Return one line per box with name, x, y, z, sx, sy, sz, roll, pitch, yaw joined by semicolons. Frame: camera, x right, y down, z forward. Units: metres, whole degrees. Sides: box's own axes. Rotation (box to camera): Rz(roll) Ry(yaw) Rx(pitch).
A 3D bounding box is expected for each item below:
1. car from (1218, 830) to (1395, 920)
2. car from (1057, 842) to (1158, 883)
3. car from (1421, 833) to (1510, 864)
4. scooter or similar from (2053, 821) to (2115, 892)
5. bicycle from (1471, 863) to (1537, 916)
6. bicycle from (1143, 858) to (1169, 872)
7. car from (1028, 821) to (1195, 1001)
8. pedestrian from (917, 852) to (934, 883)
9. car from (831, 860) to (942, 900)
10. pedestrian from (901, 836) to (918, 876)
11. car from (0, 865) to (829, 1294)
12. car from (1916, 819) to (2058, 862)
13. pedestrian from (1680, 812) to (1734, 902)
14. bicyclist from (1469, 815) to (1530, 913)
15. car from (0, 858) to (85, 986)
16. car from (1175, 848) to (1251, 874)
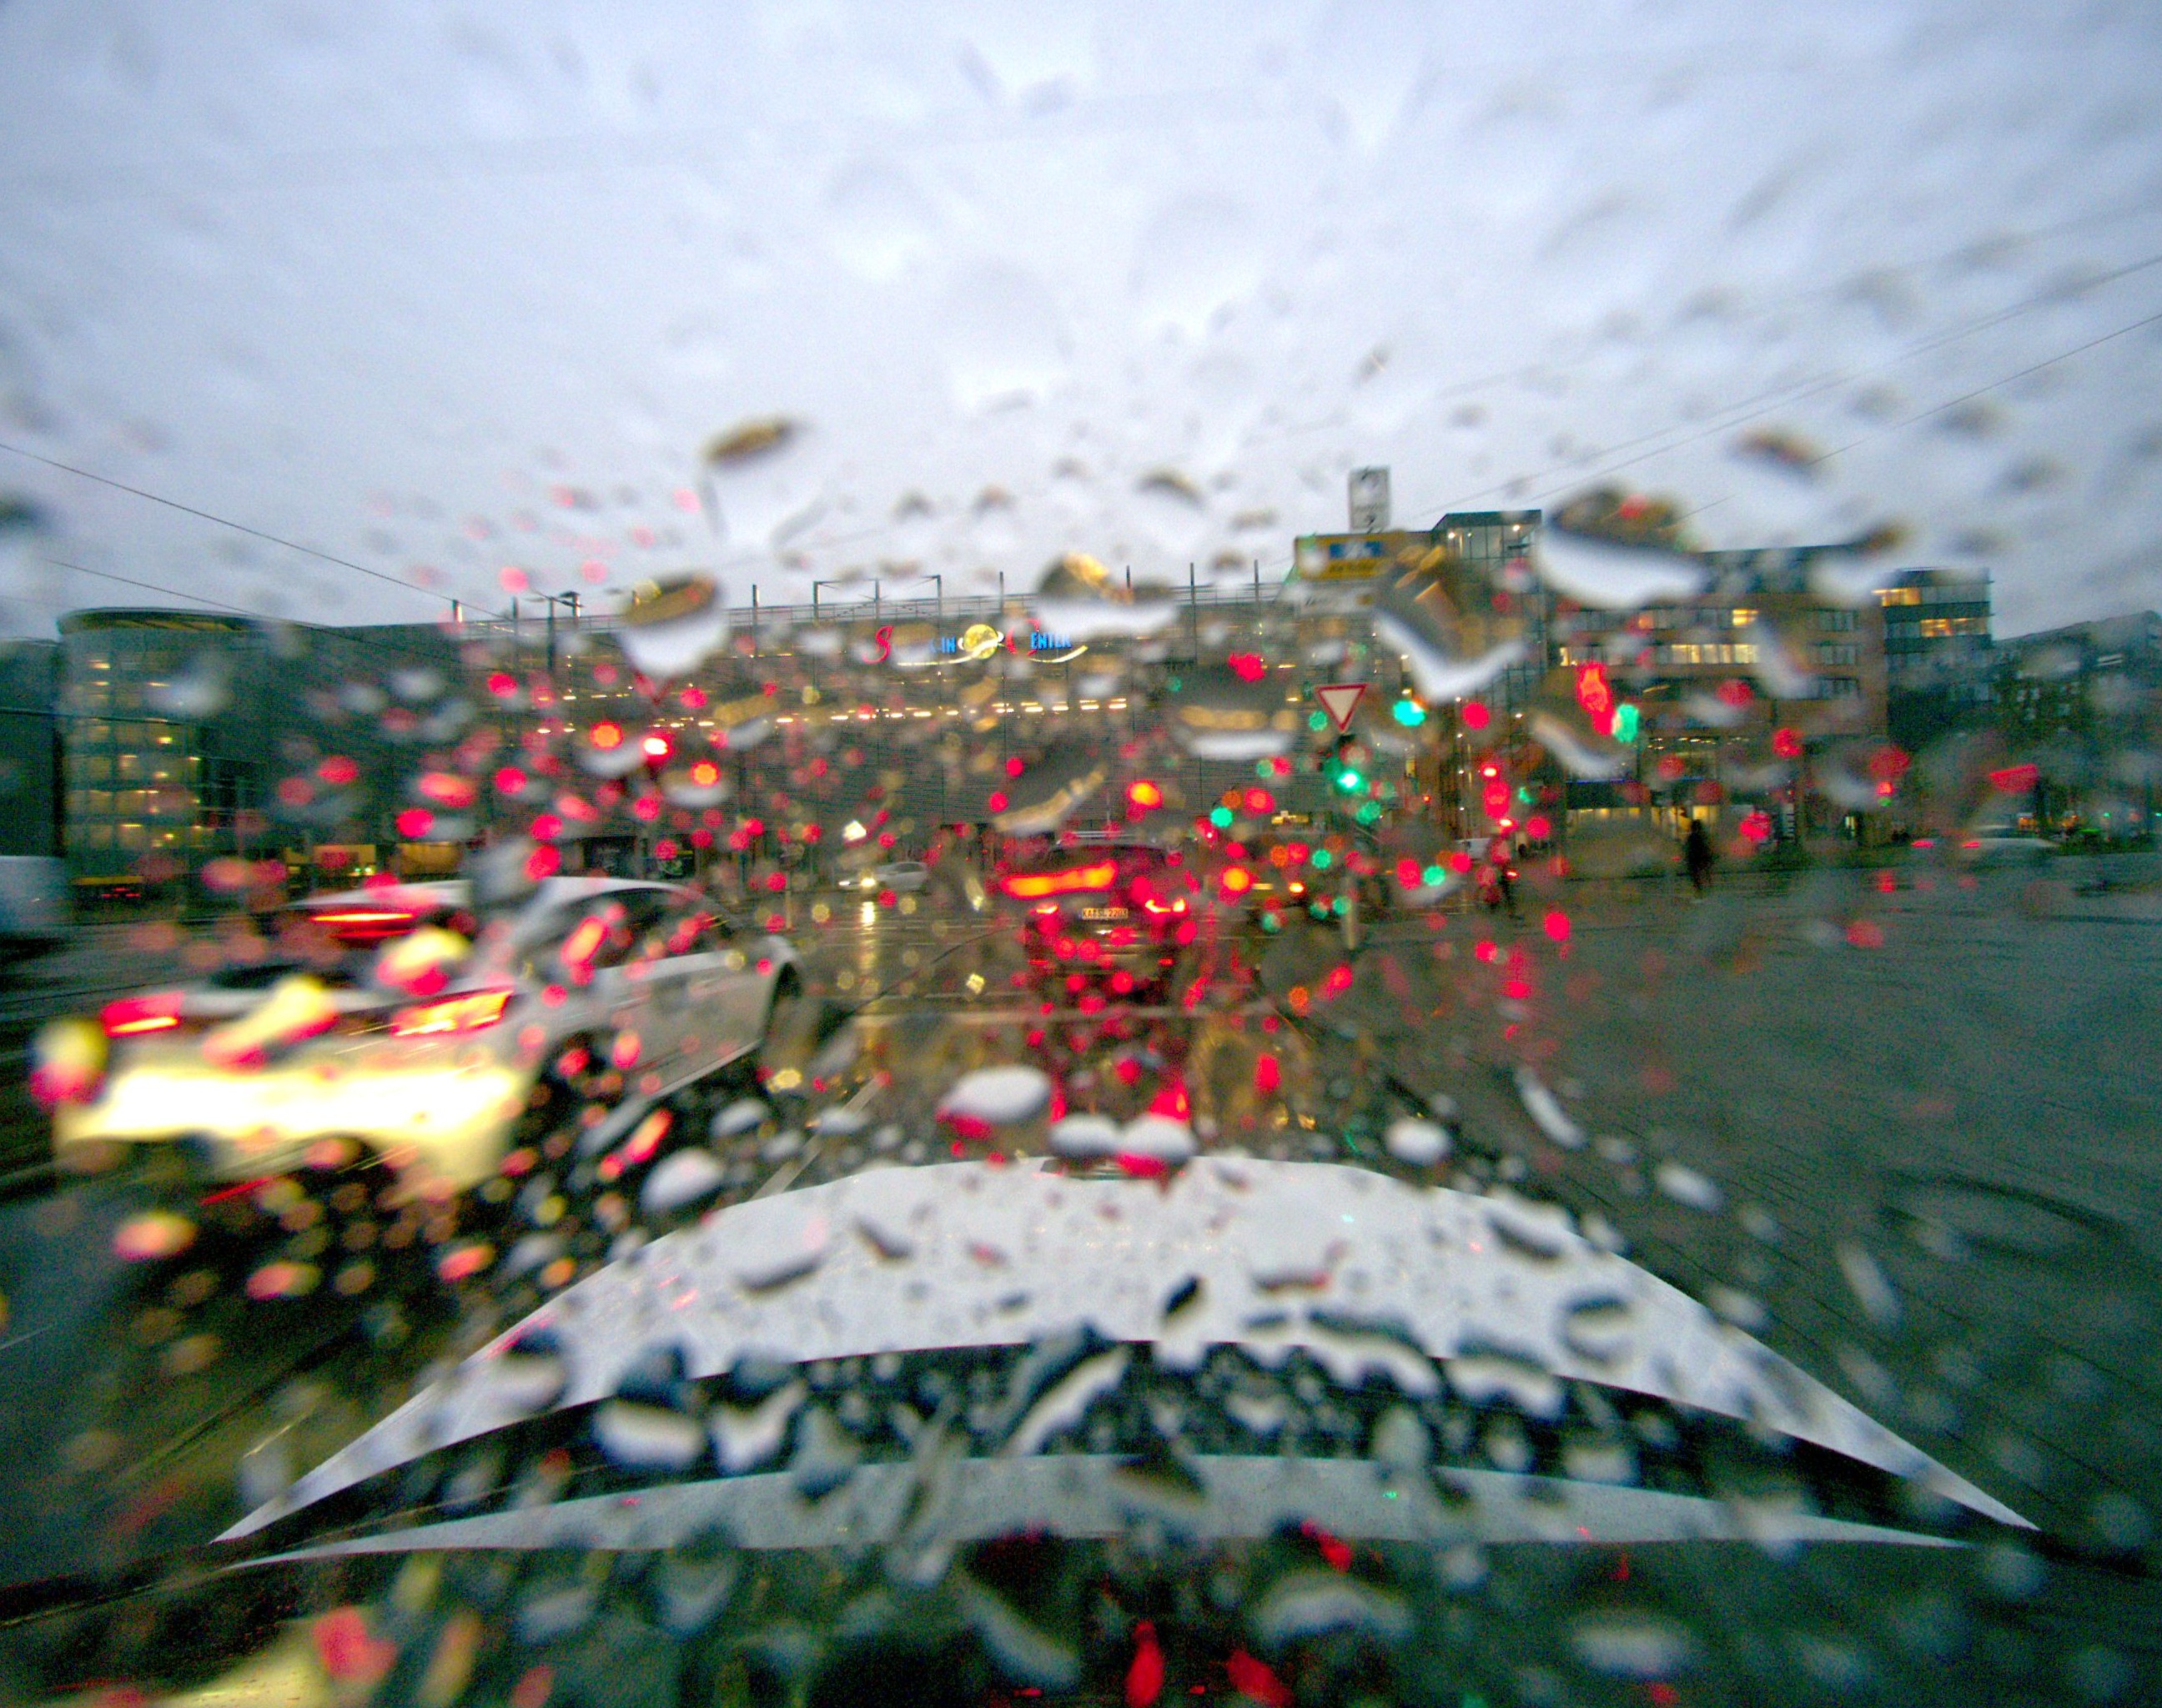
car;5.208;0.393;18.449;4.513;1.806;1.827;-2;0;-45
car;1.543;0.466;45.392;5.688;2.059;1.931;-2;-1;-38
car;23.746;-0.349;50.401;4.578;1.719;1.930;-2;0;1
scooter or similar;17.912;0.035;14.543;1.310;1.206;0.331;-2;-1;-24
bicycle;8.495;0.684;16.429;0.651;0.973;1.872;-2;0;11
bicycle;5.994;0.868;65.257;2.076;1.122;0.477;-1;-1;3
car;0.540;0.566;10.131;1.665;1.779;4.008;0;0;7
pedestrian;-12.318;1.049;64.516;1.105;2.439;0.967;-1;-1;4
car;-7.992;1.048;33.884;1.842;1.486;4.369;-2;0;34
pedestrian;-12.442;0.157;59.118;0.958;2.925;1.115;-1;-1;4
car;-3.012;0.836;4.903;1.752;1.463;3.916;-1;0;0
car;31.720;-0.455;28.554;3.722;1.361;1.639;-2;0;-11
pedestrian;13.520;0.072;17.598;0.766;1.877;0.639;-2;-1;27
bicyclist;8.401;0.205;16.381;0.785;1.890;0.992;-2;-1;11
car;-17.232;1.044;10.638;1.886;1.871;4.979;-2;0;11
car;8.147;0.433;50.466;4.403;1.444;1.626;-2;0;-6
